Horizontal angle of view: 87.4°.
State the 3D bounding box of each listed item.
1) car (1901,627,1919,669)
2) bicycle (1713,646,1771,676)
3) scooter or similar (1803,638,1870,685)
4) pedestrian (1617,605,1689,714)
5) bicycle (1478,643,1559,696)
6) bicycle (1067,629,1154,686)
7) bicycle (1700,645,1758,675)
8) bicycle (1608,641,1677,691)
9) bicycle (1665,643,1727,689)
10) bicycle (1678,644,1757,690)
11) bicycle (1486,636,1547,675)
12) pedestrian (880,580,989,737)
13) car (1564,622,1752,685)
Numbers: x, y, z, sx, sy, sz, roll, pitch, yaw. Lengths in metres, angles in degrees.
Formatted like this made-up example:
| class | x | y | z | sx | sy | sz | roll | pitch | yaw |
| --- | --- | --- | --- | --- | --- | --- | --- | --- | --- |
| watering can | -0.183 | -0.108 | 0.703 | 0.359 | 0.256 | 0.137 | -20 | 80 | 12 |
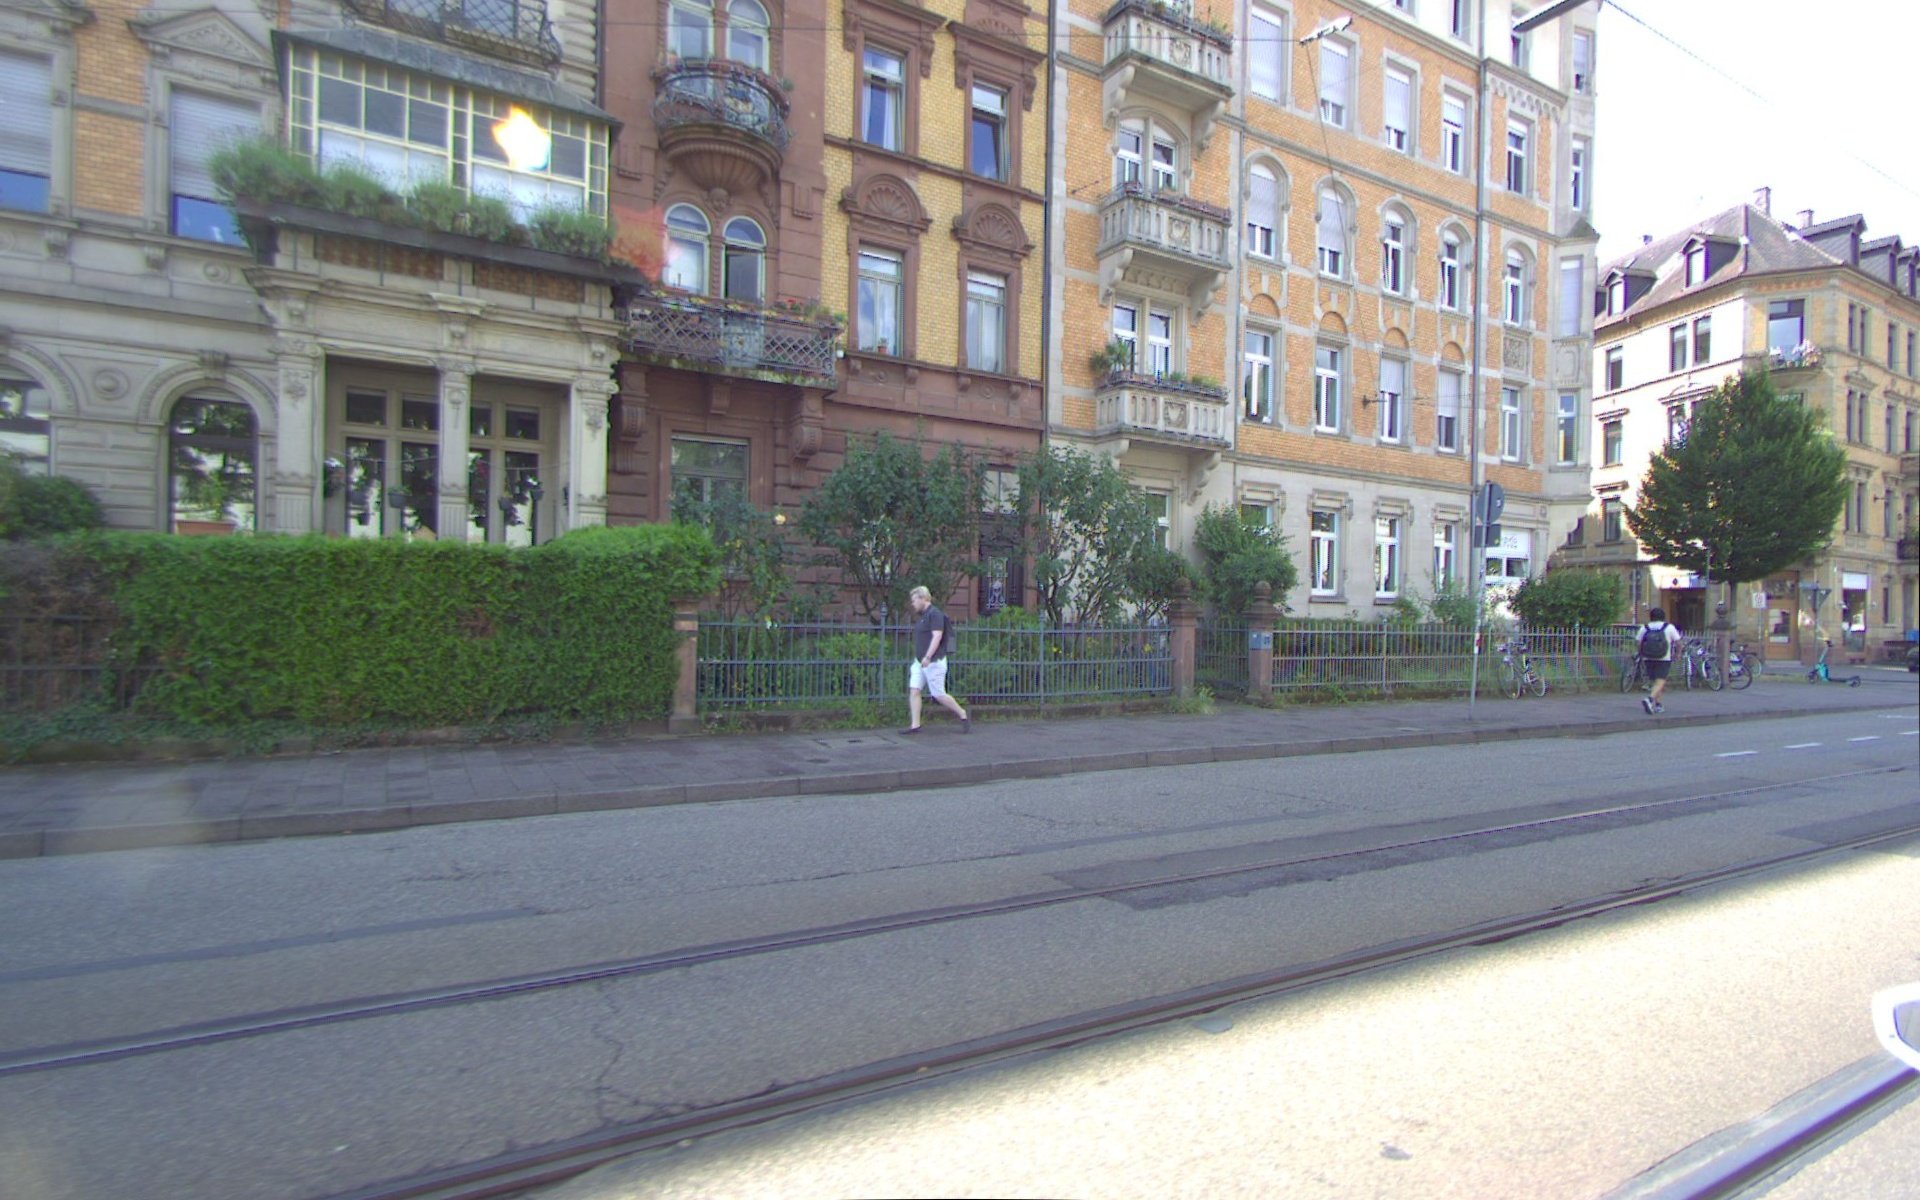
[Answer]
| class | x | y | z | sx | sy | sz | roll | pitch | yaw |
| --- | --- | --- | --- | --- | --- | --- | --- | --- | --- |
| car | 36.833 | 1.791 | 37.210 | 4.709 | 1.478 | 1.677 | 2 | -1 | -31 |
| bicycle | 23.141 | 1.795 | 29.721 | 1.671 | 0.849 | 0.523 | 0 | 0 | -18 |
| scooter or similar | 24.692 | 1.714 | 28.317 | 1.342 | 1.251 | 0.403 | 2 | 0 | 32 |
| pedestrian | 11.787 | 0.993 | 17.084 | 1.093 | 1.784 | 0.530 | 1 | 2 | -31 |
| bicycle | 10.476 | 1.281 | 18.822 | 1.927 | 0.945 | 0.419 | 1 | -1 | -31 |
| bicycle | 2.705 | 1.017 | 18.247 | 0.418 | 0.945 | 1.933 | 1 | -1 | -31 |
| bicycle | 23.304 | 1.807 | 30.442 | 1.671 | 0.849 | 0.523 | 0 | 0 | -18 |
| bicycle | 14.279 | 1.362 | 20.990 | 1.927 | 0.989 | 0.419 | 1 | -1 | -31 |
| bicycle | 16.391 | 1.451 | 22.354 | 1.927 | 0.989 | 0.419 | 1 | -1 | -31 |
| bicycle | 17.693 | 1.552 | 23.482 | 0.399 | 0.989 | 1.446 | 1 | -1 | -30 |
| bicycle | 15.130 | 1.499 | 27.339 | 0.399 | 0.989 | 1.446 | 1 | -1 | -30 |
| pedestrian | -0.284 | 0.652 | 11.514 | 1.139 | 1.726 | 0.485 | 1 | 0 | -33 |
| car | 17.916 | 1.329 | 25.952 | 1.763 | 1.422 | 3.592 | 1 | 0 | -26 |
